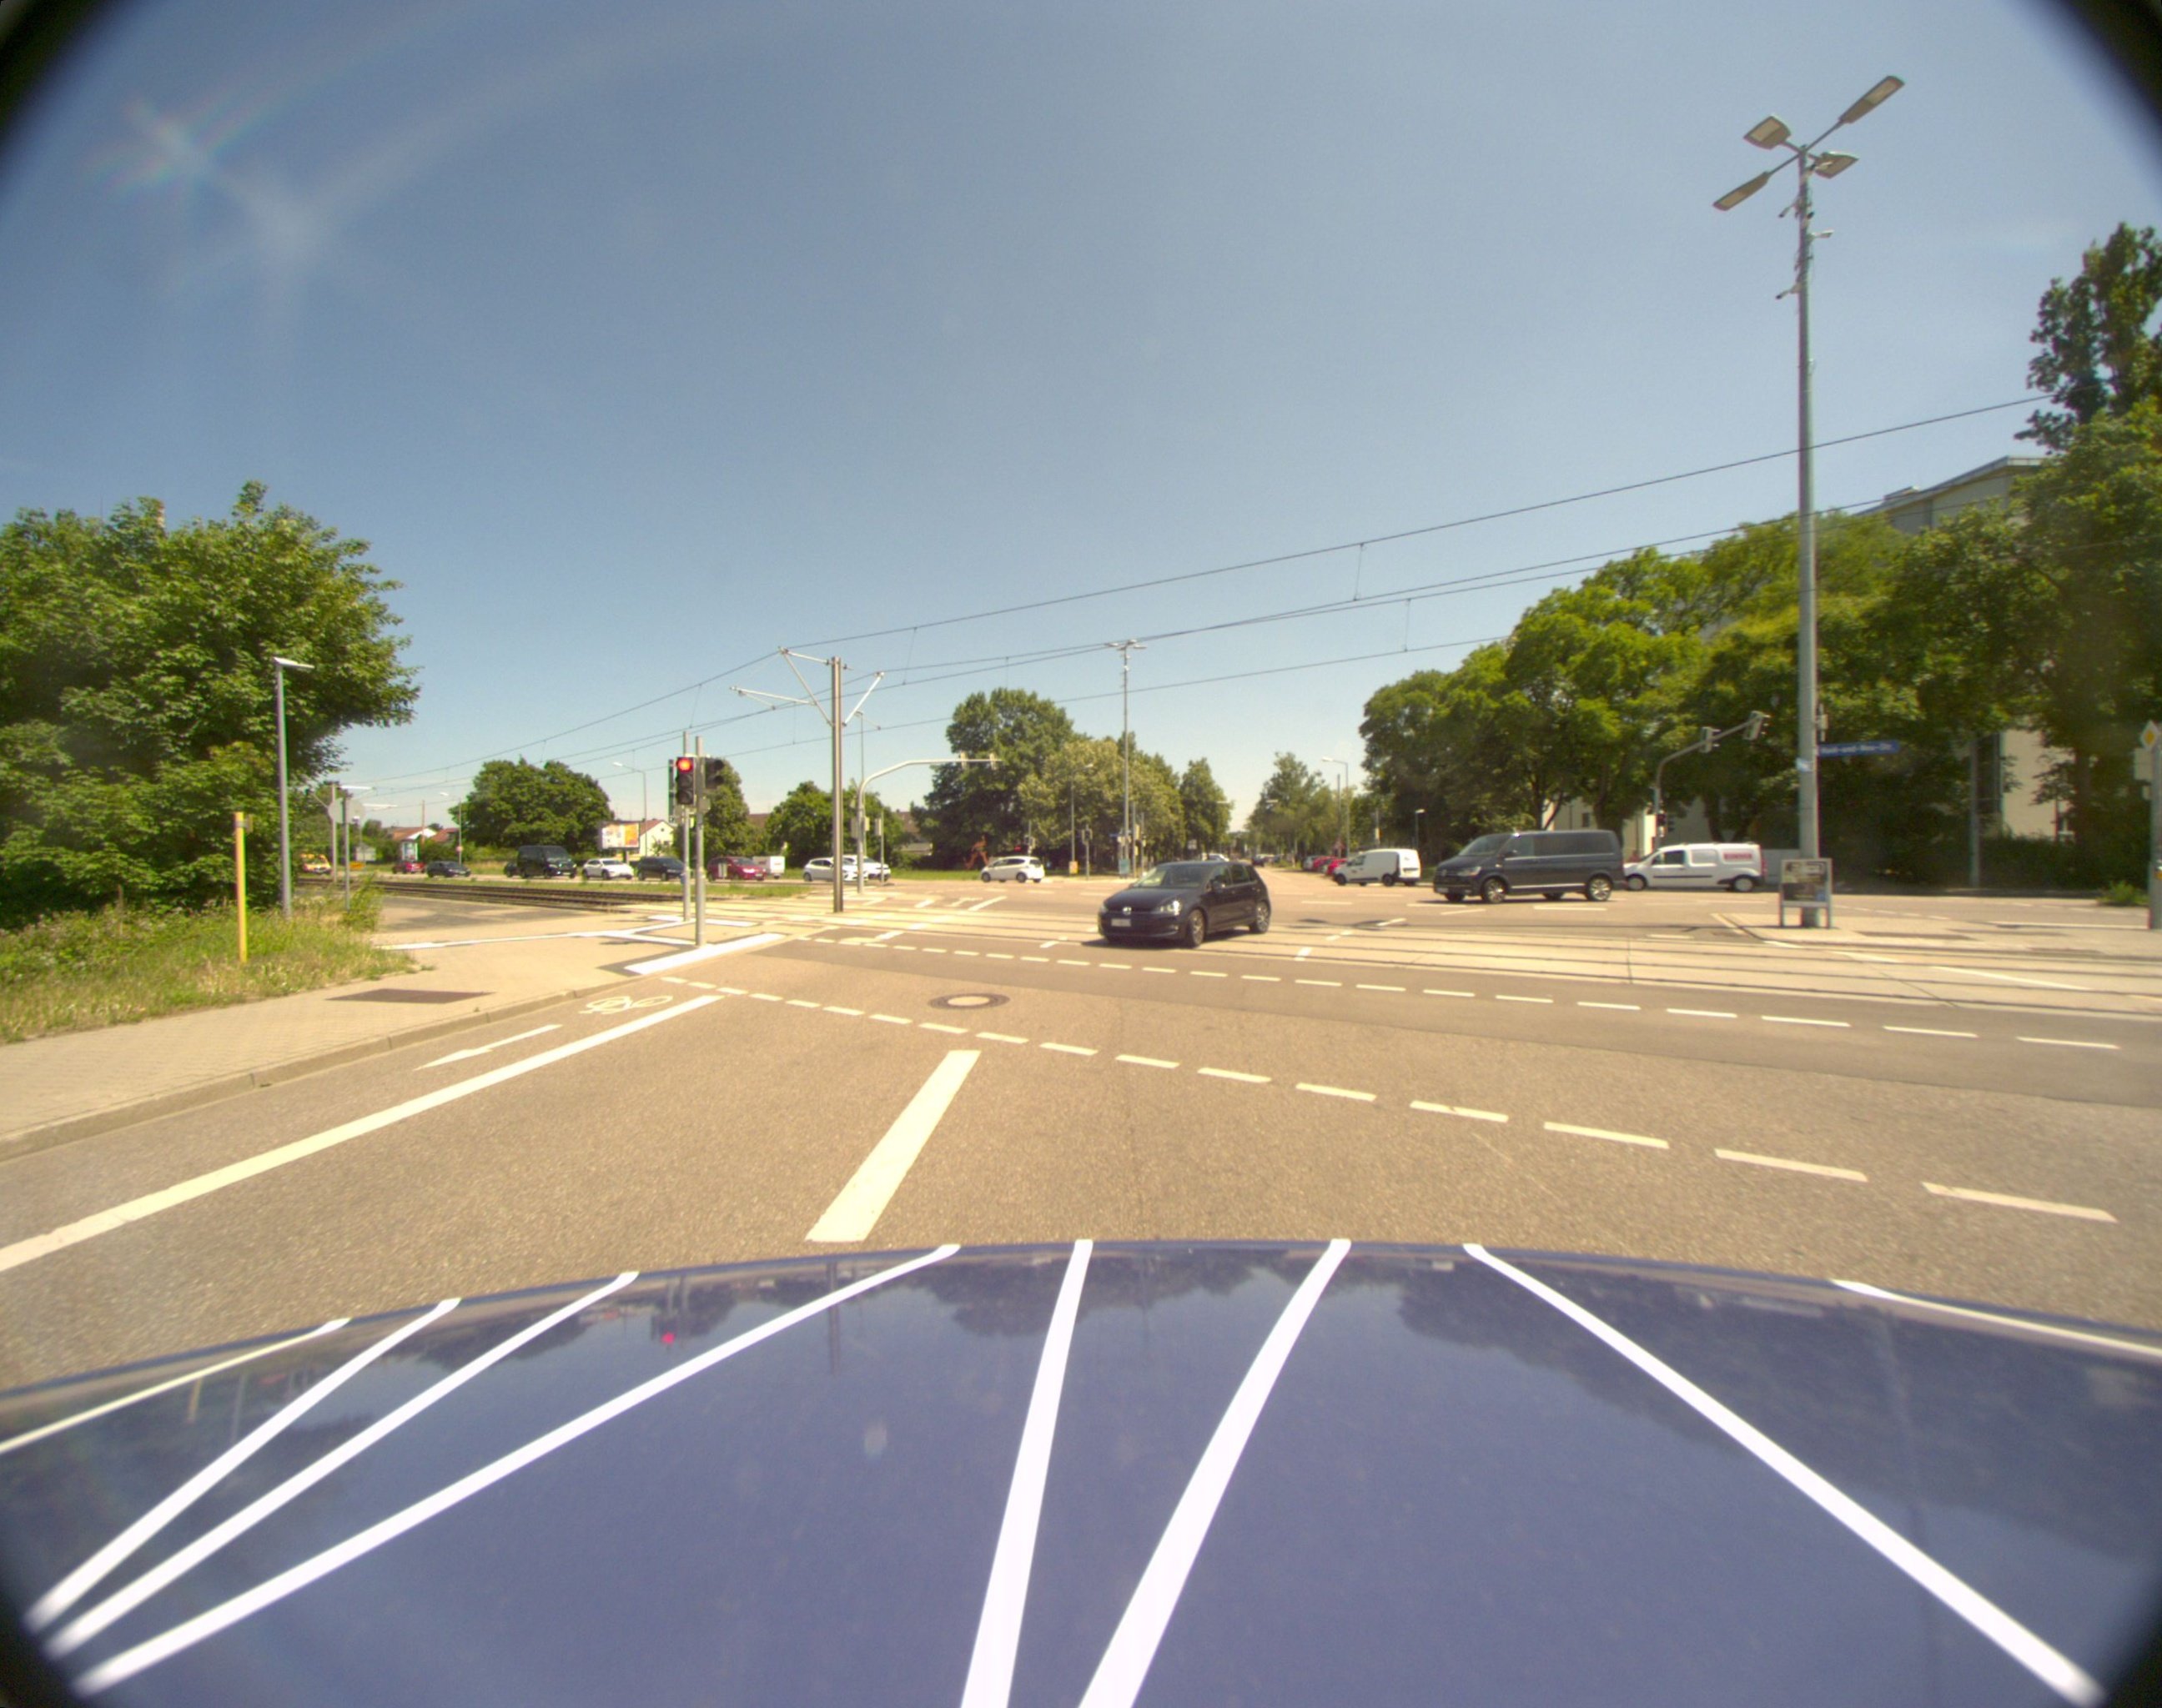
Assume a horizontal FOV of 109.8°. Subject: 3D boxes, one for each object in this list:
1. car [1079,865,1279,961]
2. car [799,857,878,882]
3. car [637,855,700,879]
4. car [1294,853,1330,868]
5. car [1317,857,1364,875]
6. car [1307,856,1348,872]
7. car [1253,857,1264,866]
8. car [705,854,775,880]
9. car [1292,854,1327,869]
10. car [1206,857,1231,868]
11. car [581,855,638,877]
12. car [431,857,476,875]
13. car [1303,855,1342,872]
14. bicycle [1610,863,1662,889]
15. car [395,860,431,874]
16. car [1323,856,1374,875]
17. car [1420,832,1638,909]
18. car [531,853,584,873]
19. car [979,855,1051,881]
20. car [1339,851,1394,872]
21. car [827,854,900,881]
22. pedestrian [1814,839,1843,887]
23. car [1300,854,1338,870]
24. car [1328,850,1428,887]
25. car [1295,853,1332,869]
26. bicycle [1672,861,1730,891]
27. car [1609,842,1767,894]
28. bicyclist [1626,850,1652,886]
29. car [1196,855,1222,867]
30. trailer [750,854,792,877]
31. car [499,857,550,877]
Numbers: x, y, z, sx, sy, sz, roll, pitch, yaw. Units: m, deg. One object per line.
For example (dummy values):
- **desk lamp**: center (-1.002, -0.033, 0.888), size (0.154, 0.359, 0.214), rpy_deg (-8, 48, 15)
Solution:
- **car**: center (1.922, 0.943, 13.838), size (1.705, 1.396, 4.062), rpy_deg (-1, 0, 39)
- **car**: center (-13.633, 0.854, 42.652), size (4.399, 1.380, 1.879), rpy_deg (-1, -1, 33)
- **car**: center (-27.795, 0.862, 51.190), size (4.399, 1.566, 1.879), rpy_deg (-1, -1, 33)
- **car**: center (25.186, 0.735, 82.883), size (3.487, 1.570, 1.586), rpy_deg (-1, -2, 10)
- **car**: center (21.866, 1.007, 64.099), size (3.487, 1.419, 1.586), rpy_deg (-1, -2, 10)
- **car**: center (23.495, 0.934, 72.552), size (3.487, 1.419, 1.586), rpy_deg (-1, -2, 10)
- **car**: center (26.683, 1.089, 114.350), size (1.582, 1.219, 3.497), rpy_deg (-2, -2, 12)
- **car**: center (-21.292, 0.796, 47.347), size (4.399, 1.566, 1.879), rpy_deg (-1, -1, 33)
- **car**: center (25.552, 0.812, 84.979), size (3.487, 1.570, 1.586), rpy_deg (-1, -2, 10)
- **car**: center (20.060, 1.187, 110.857), size (3.487, 1.467, 1.586), rpy_deg (-1, -2, 10)
- **car**: center (-33.974, 0.876, 54.703), size (4.399, 1.566, 1.734), rpy_deg (-1, -1, 33)
- **car**: center (-55.844, 1.093, 67.588), size (4.399, 1.566, 1.879), rpy_deg (-1, -1, 33)
- **car**: center (23.879, 0.972, 75.303), size (3.487, 1.545, 1.586), rpy_deg (-1, -2, 10)
- **bicycle**: center (23.157, 0.909, 31.741), size (0.616, 1.057, 1.804), rpy_deg (-2, 0, -12)
- **car**: center (-73.615, 1.415, 83.716), size (4.399, 1.450, 1.853), rpy_deg (0, 0, 33)
- **car**: center (20.842, 0.912, 59.280), size (3.487, 1.419, 1.586), rpy_deg (-1, -2, 10)
- **car**: center (12.072, 0.416, 20.668), size (4.844, 1.920, 1.942), rpy_deg (-1, 1, -4)
- **car**: center (-40.954, 0.713, 59.380), size (4.399, 1.566, 1.879), rpy_deg (-1, -1, 33)
- **car**: center (-3.860, 0.791, 44.135), size (3.887, 1.496, 1.735), rpy_deg (0, -1, 31)
- **car**: center (20.919, 0.584, 55.744), size (3.487, 1.419, 1.586), rpy_deg (-1, -2, 7)
- **car**: center (-13.245, 0.826, 46.211), size (4.399, 1.566, 1.879), rpy_deg (-1, -1, 33)
- **pedestrian**: center (28.937, 0.330, 29.428), size (0.677, 1.825, 0.609), rpy_deg (0, 1, 31)
- **car**: center (24.331, 0.844, 77.672), size (3.487, 1.545, 1.586), rpy_deg (-1, -2, 10)
- **car**: center (14.354, 0.688, 36.999), size (1.814, 1.707, 4.333), rpy_deg (0, -1, -30)
- **car**: center (24.402, 0.788, 79.813), size (3.487, 1.545, 1.586), rpy_deg (-1, -2, 10)
- **bicycle**: center (25.059, 0.863, 30.741), size (0.616, 1.057, 1.803), rpy_deg (-2, 3, -12)
- **car**: center (22.398, 0.545, 28.278), size (4.380, 1.782, 1.901), rpy_deg (-1, -2, 31)
- **bicyclist**: center (23.194, 0.566, 31.586), size (0.616, 1.460, 0.628), rpy_deg (-2, 3, -13)
- **car**: center (19.575, 1.077, 116.028), size (3.768, 1.717, 1.764), rpy_deg (-1, -2, 10)
- **trailer**: center (-22.919, 0.866, 56.148), size (2.929, 1.644, 1.412), rpy_deg (0, -1, 32)
- **car**: center (-45.345, 1.035, 61.888), size (4.399, 1.566, 1.879), rpy_deg (-1, -1, 33)
